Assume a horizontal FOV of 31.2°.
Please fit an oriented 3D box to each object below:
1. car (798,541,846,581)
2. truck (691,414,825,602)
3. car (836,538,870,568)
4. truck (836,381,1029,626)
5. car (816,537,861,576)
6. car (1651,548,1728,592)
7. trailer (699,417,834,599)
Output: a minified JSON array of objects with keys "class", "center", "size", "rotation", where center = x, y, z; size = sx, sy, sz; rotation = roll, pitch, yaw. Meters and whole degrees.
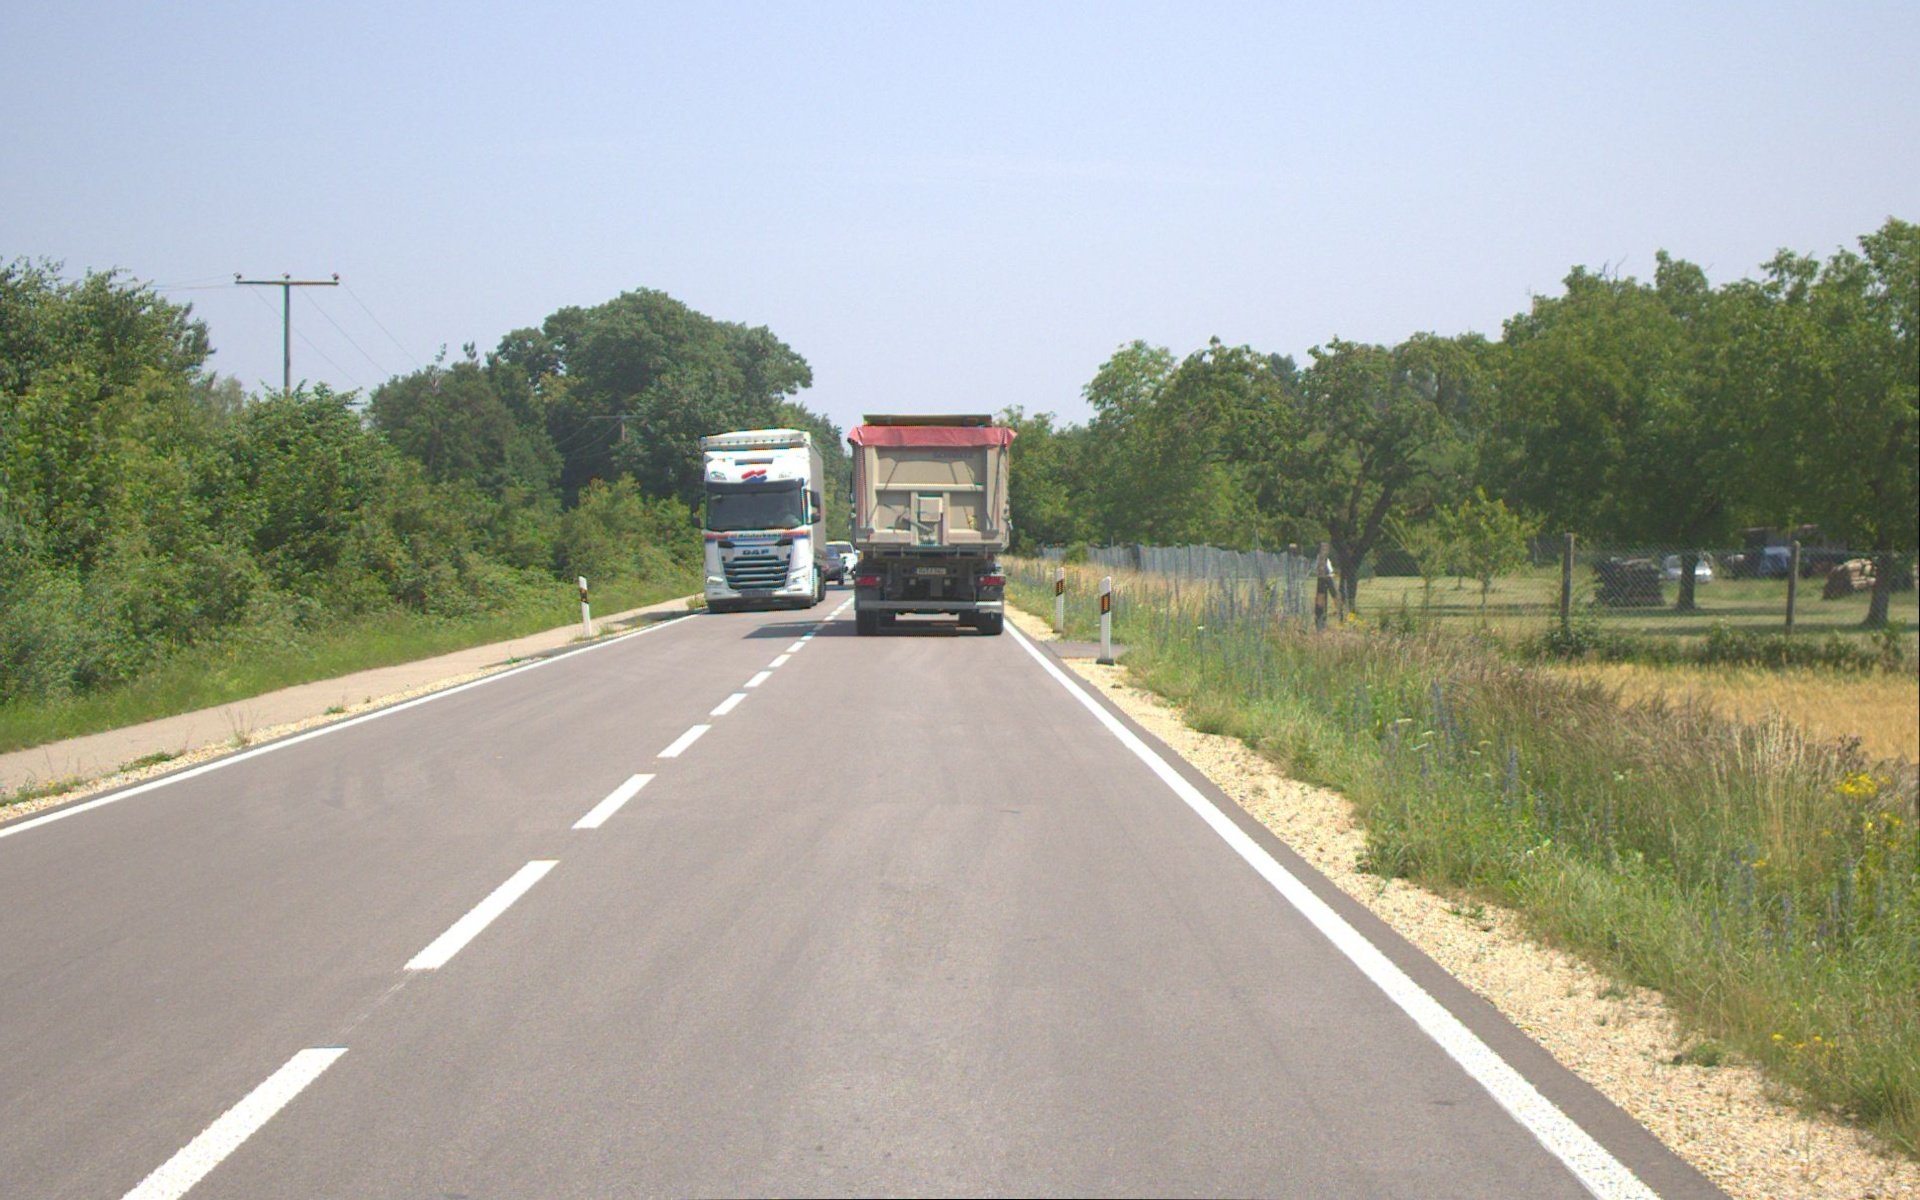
[{"class":"car","center":[-5.092,-1.455,126.948],"size":[1.694,1.401,4.046],"rotation":[-3,1,-2]},{"class":"truck","center":[-4.812,-2.213,83.246],"size":[2.717,4.251,7.390],"rotation":[-2,1,-1]},{"class":"car","center":[-5.817,-2.569,187.252],"size":[1.758,1.535,4.046],"rotation":[-3,1,-1]},{"class":"truck","center":[-0.520,-1.620,61.212],"size":[3.009,3.861,12.210],"rotation":[1,1,-1]},{"class":"car","center":[-5.174,-1.867,147.004],"size":[1.758,1.601,4.482],"rotation":[-3,1,-1]},{"class":"car","center":[26.095,-1.083,123.080],"size":[1.592,1.481,3.429],"rotation":[0,2,-8]},{"class":"trailer","center":[-4.881,-2.335,89.225],"size":[2.717,4.251,13.811],"rotation":[-2,1,-1]}]
